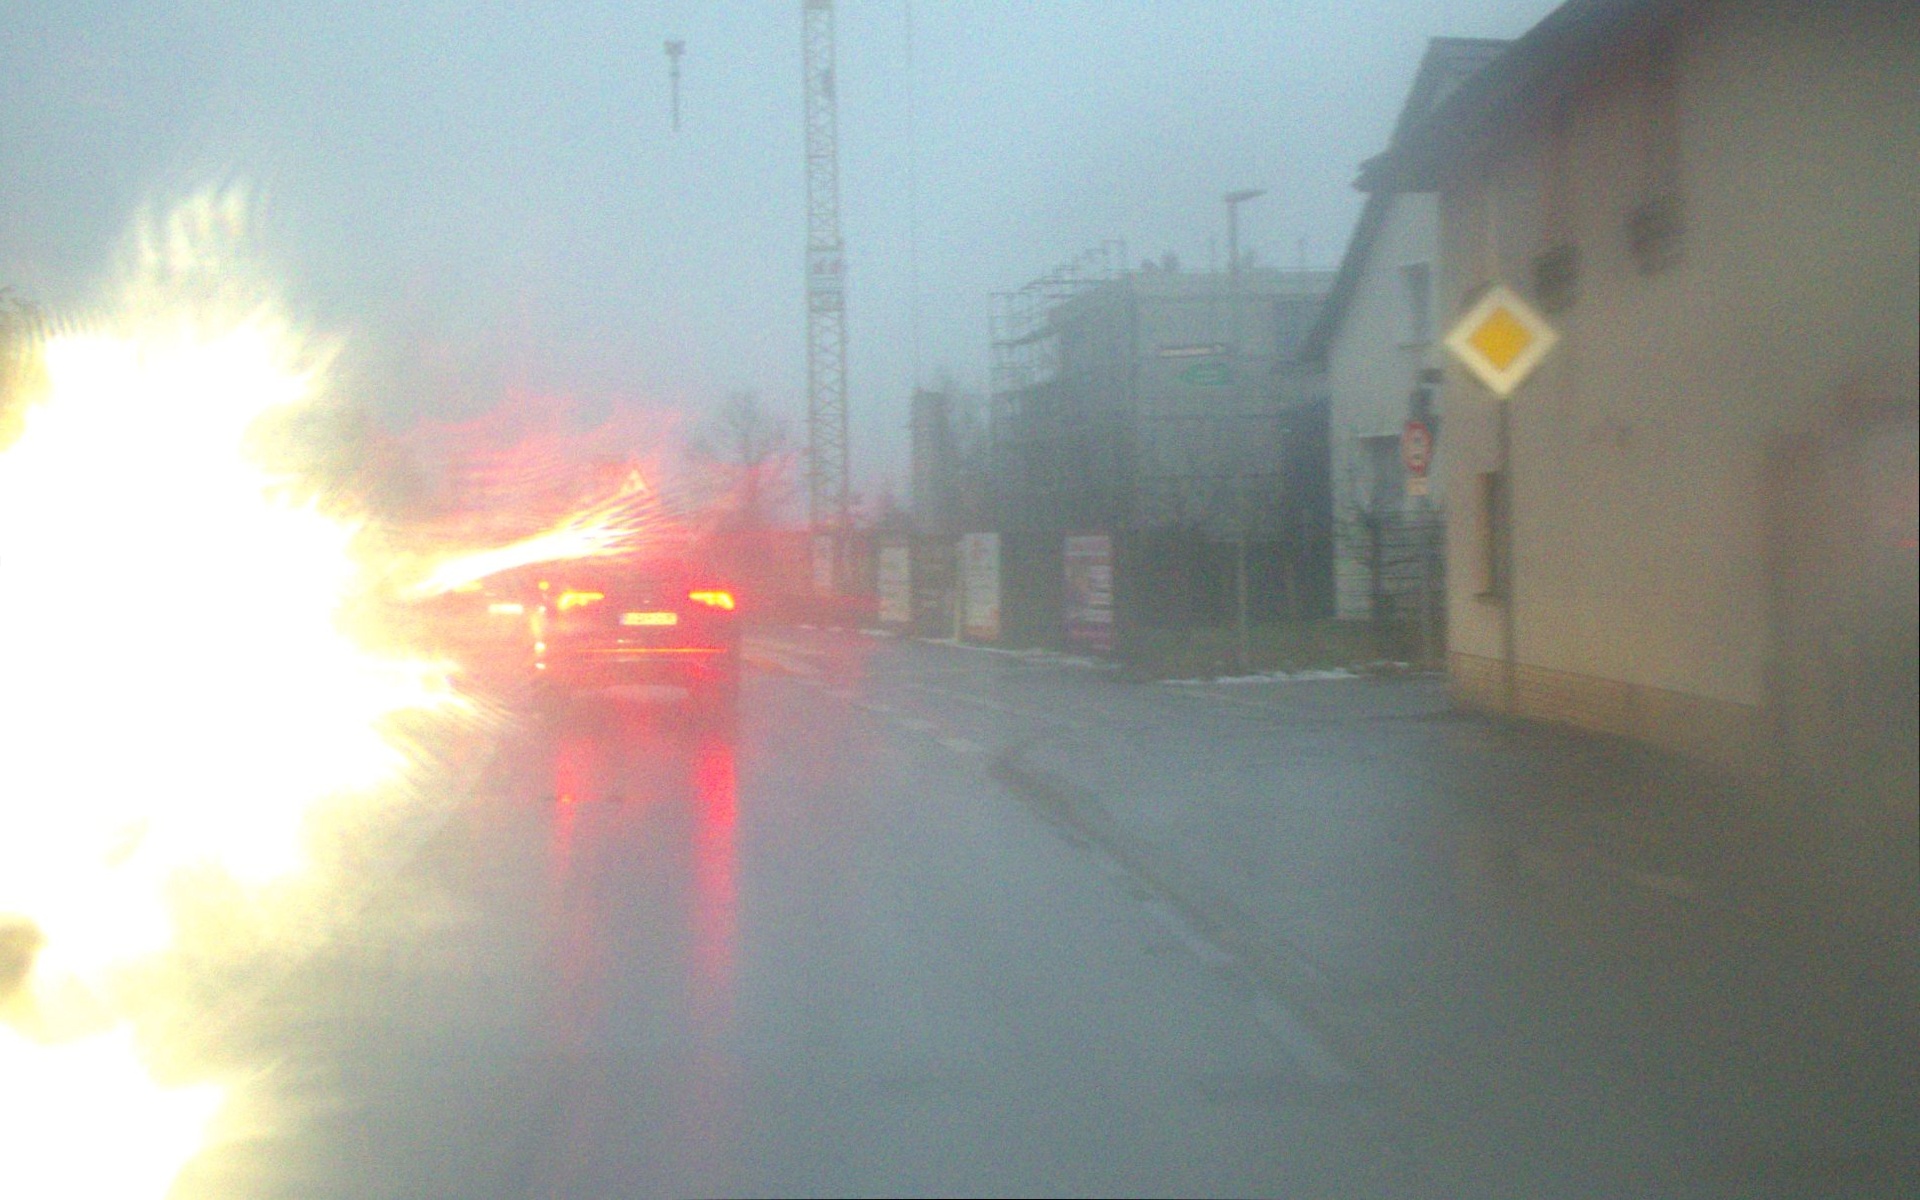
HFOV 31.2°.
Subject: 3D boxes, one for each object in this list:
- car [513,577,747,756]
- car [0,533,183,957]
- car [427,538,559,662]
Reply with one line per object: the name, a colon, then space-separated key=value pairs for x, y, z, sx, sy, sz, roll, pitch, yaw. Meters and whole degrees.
car: x=-3.279 y=0.597 z=33.388 sx=2.047 sy=1.567 sz=4.704 roll=-1 pitch=0 yaw=-8
car: x=-4.693 y=0.532 z=14.984 sx=1.875 sy=1.580 sz=4.291 roll=-2 pitch=1 yaw=-4
car: x=-7.586 y=-0.038 z=55.686 sx=1.993 sy=1.875 sz=4.001 roll=-2 pitch=1 yaw=-8
